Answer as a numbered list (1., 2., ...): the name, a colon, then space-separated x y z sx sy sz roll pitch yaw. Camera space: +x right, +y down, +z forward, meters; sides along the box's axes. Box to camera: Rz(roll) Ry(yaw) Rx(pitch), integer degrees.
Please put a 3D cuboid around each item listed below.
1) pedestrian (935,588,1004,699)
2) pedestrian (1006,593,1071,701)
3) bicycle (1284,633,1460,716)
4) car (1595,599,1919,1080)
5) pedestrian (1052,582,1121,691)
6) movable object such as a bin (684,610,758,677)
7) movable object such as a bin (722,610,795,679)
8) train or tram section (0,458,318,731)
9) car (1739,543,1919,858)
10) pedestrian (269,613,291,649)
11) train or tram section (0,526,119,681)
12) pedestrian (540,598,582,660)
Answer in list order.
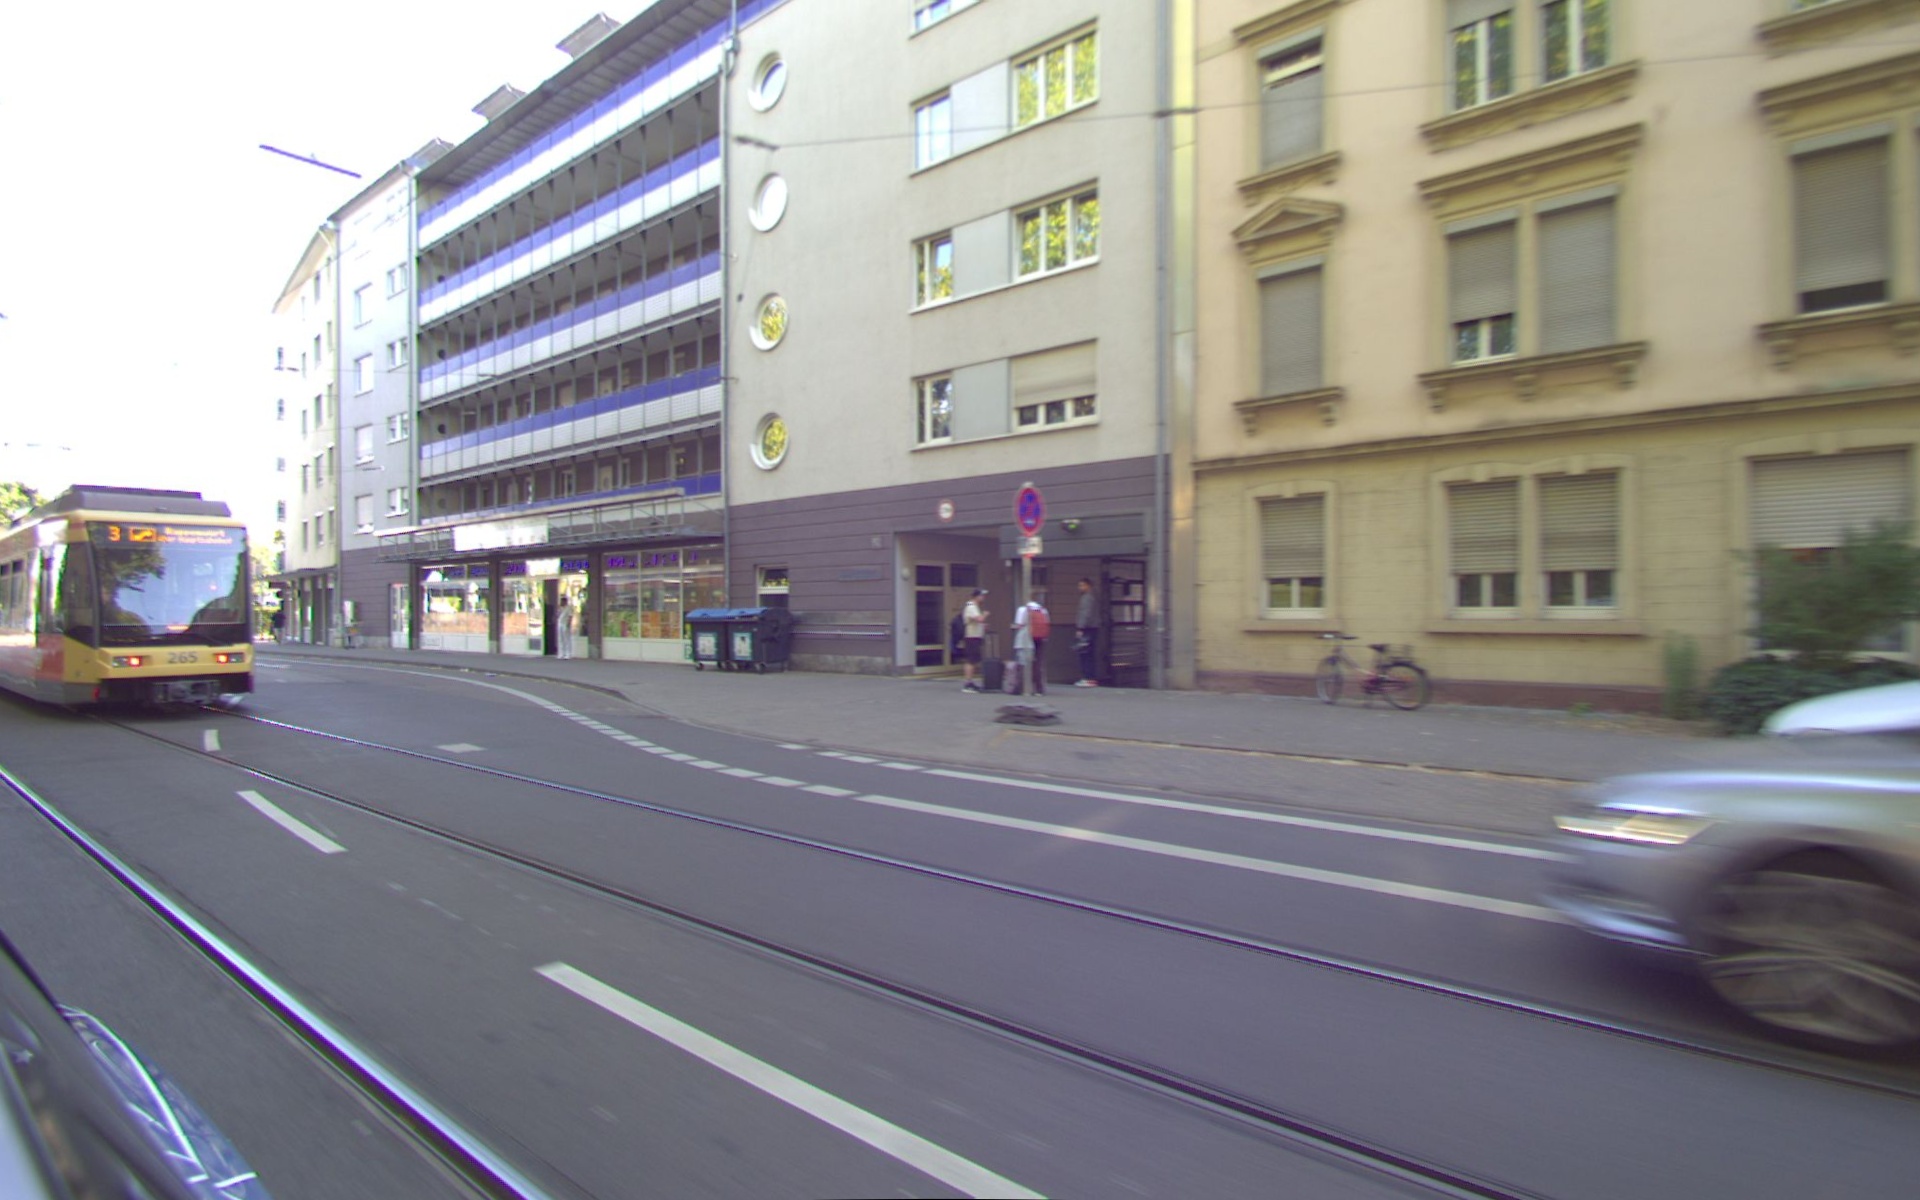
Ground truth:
1. pedestrian: 0.163 0.709 17.042 0.735 1.798 0.856 -1 1 39
2. pedestrian: 1.243 0.721 15.989 0.686 1.645 0.720 -1 1 40
3. bicycle: 5.463 0.950 13.558 0.639 0.978 2.142 -1 0 -38
4. car: 4.644 0.711 2.779 4.713 1.457 1.777 -1 -2 40
5. pedestrian: 2.221 0.622 17.737 0.729 1.827 0.952 -1 1 42
6. movable object such as a bin: -5.458 0.975 23.131 1.212 1.462 1.128 -1 -1 37
7. movable object such as a bin: -4.466 0.958 22.399 1.209 1.462 1.046 -1 -1 37
8. train or tram section: -15.936 0.026 18.773 14.190 3.512 2.878 -1 -1 41
9. car: 7.103 0.524 5.534 4.465 1.784 1.772 -1 0 38
10. pedestrian: -32.053 1.440 47.712 0.707 1.686 0.904 0 -1 -45
11. train or tram section: -26.356 0.180 27.821 13.362 3.512 2.878 -1 -1 41
12. pedestrian: -11.519 0.815 29.213 0.819 1.726 0.779 -1 2 40
